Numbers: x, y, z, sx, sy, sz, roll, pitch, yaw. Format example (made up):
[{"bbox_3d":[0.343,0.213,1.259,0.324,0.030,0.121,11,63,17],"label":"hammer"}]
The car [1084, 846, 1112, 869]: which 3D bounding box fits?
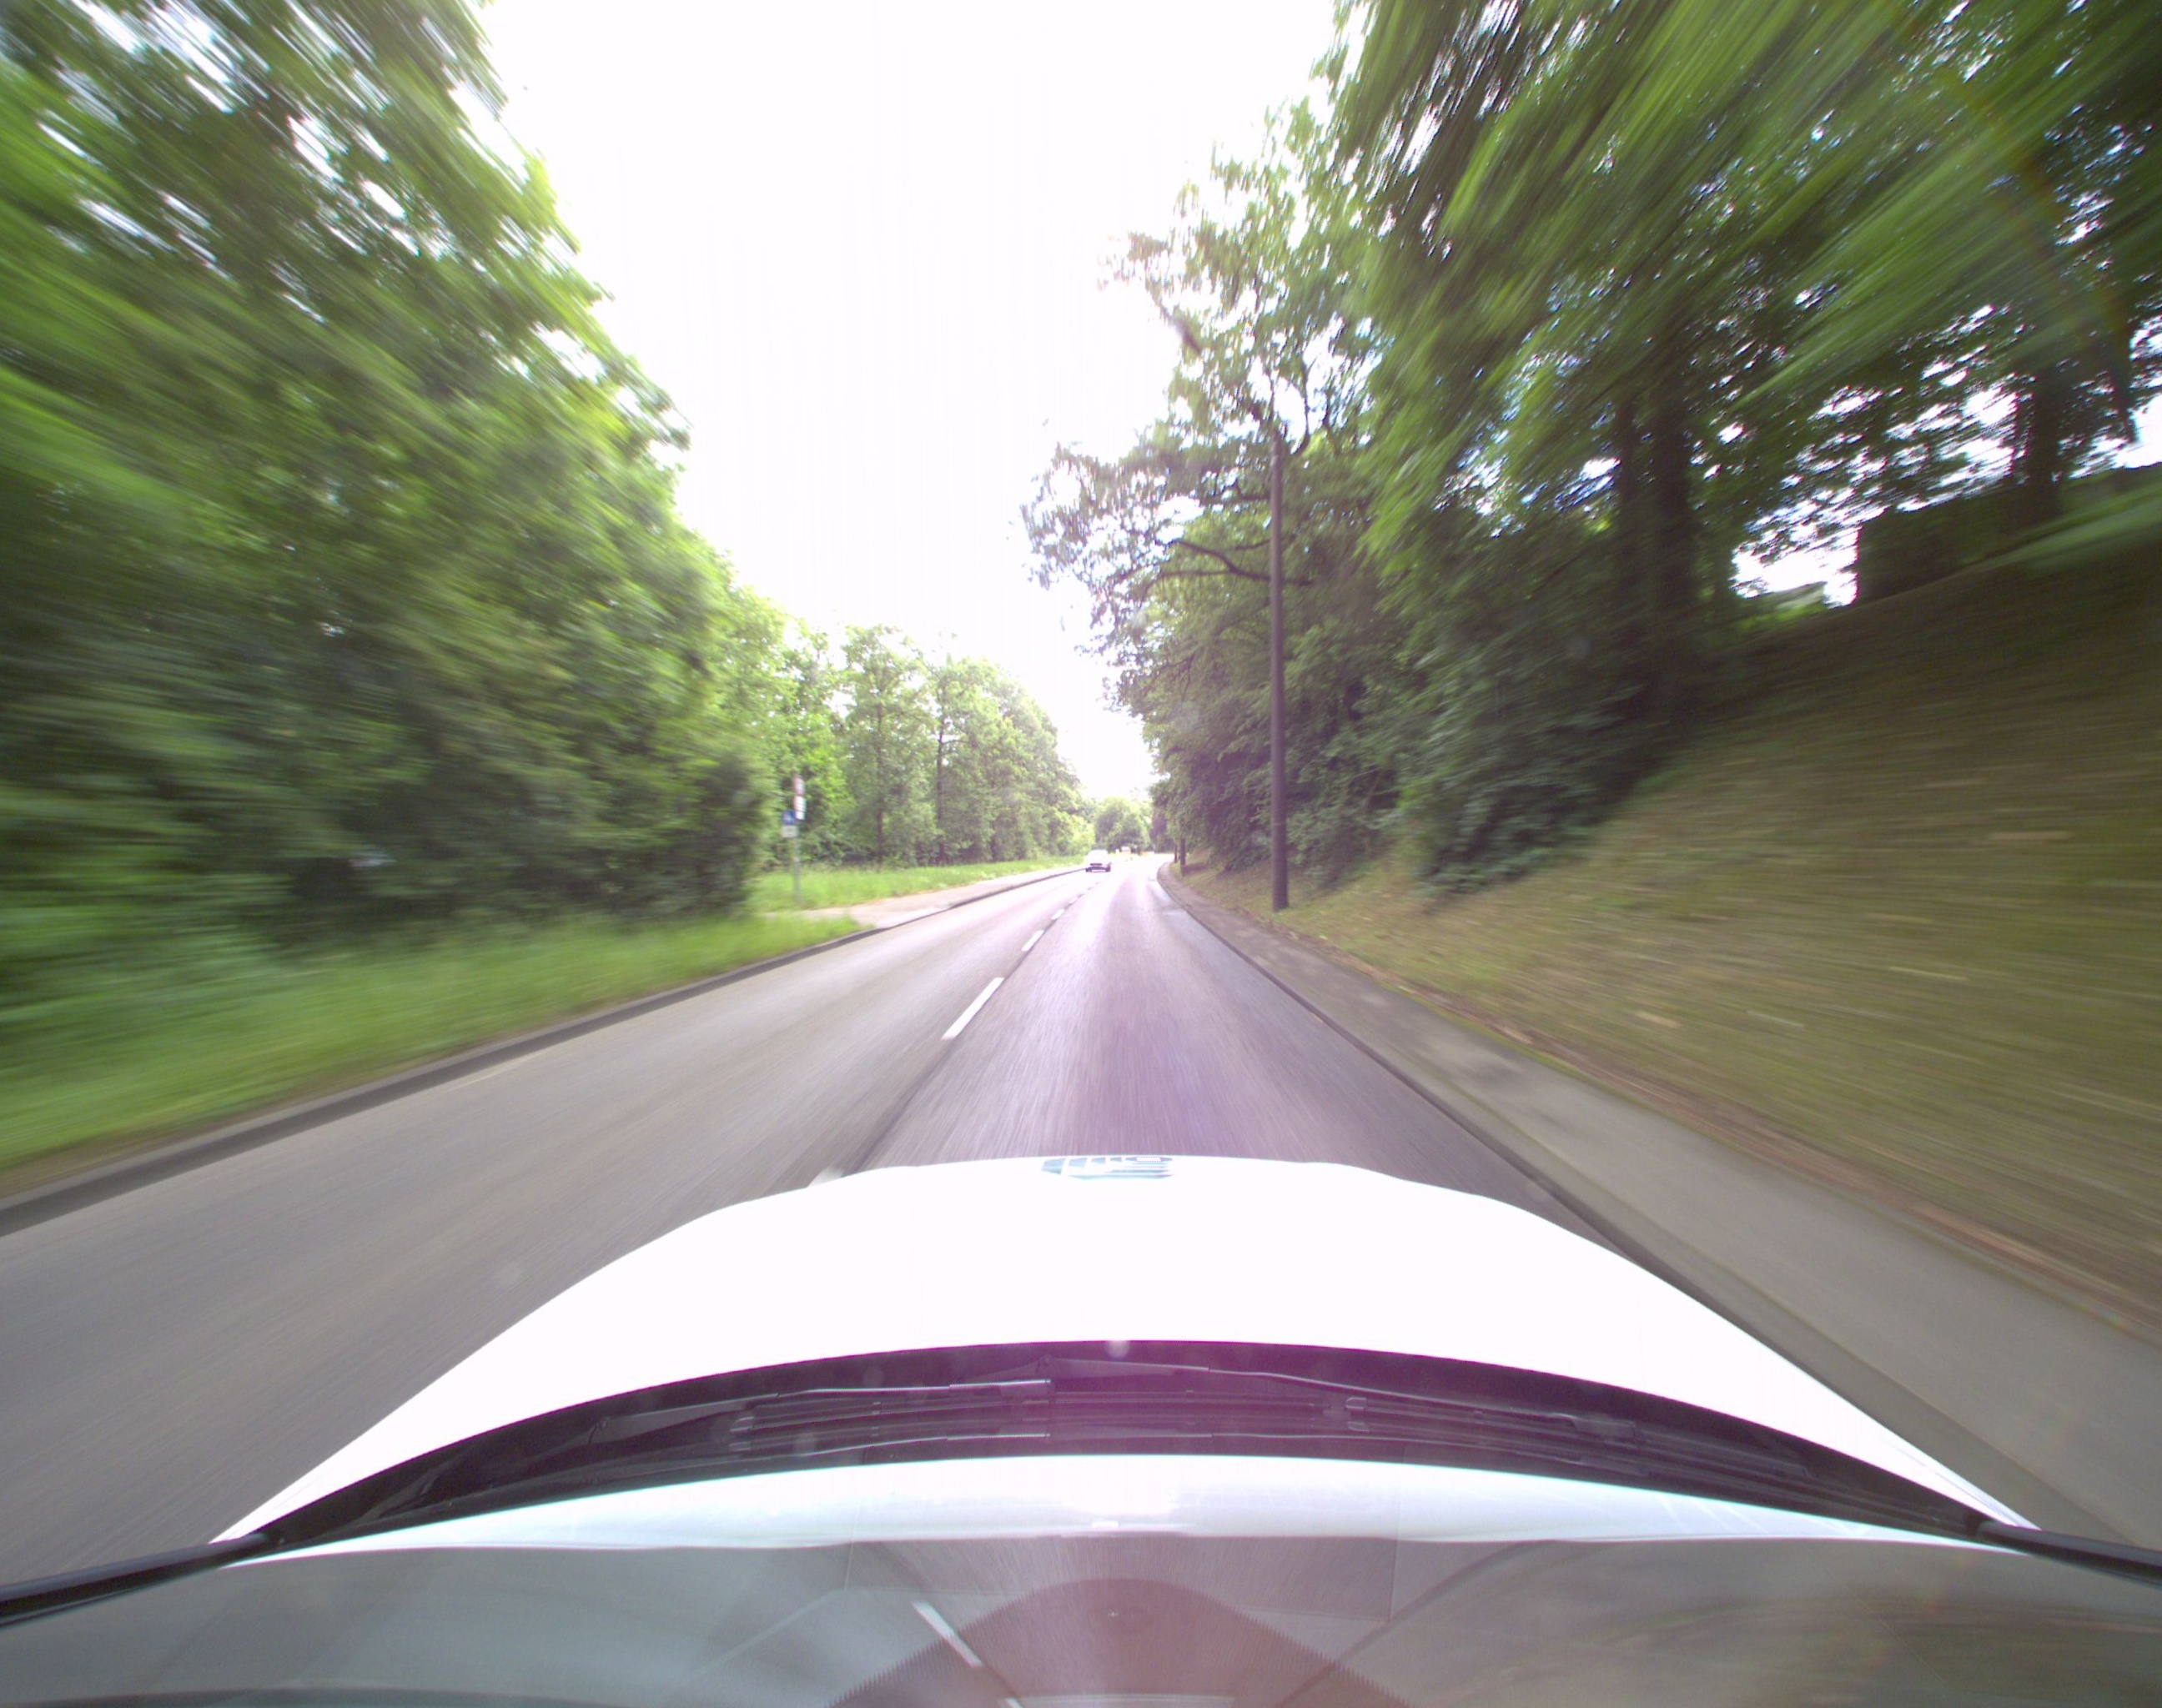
[{"bbox_3d":[1.420,0.271,65.636,1.985,1.753,4.787,-1,-1,4],"label":"car"}]
